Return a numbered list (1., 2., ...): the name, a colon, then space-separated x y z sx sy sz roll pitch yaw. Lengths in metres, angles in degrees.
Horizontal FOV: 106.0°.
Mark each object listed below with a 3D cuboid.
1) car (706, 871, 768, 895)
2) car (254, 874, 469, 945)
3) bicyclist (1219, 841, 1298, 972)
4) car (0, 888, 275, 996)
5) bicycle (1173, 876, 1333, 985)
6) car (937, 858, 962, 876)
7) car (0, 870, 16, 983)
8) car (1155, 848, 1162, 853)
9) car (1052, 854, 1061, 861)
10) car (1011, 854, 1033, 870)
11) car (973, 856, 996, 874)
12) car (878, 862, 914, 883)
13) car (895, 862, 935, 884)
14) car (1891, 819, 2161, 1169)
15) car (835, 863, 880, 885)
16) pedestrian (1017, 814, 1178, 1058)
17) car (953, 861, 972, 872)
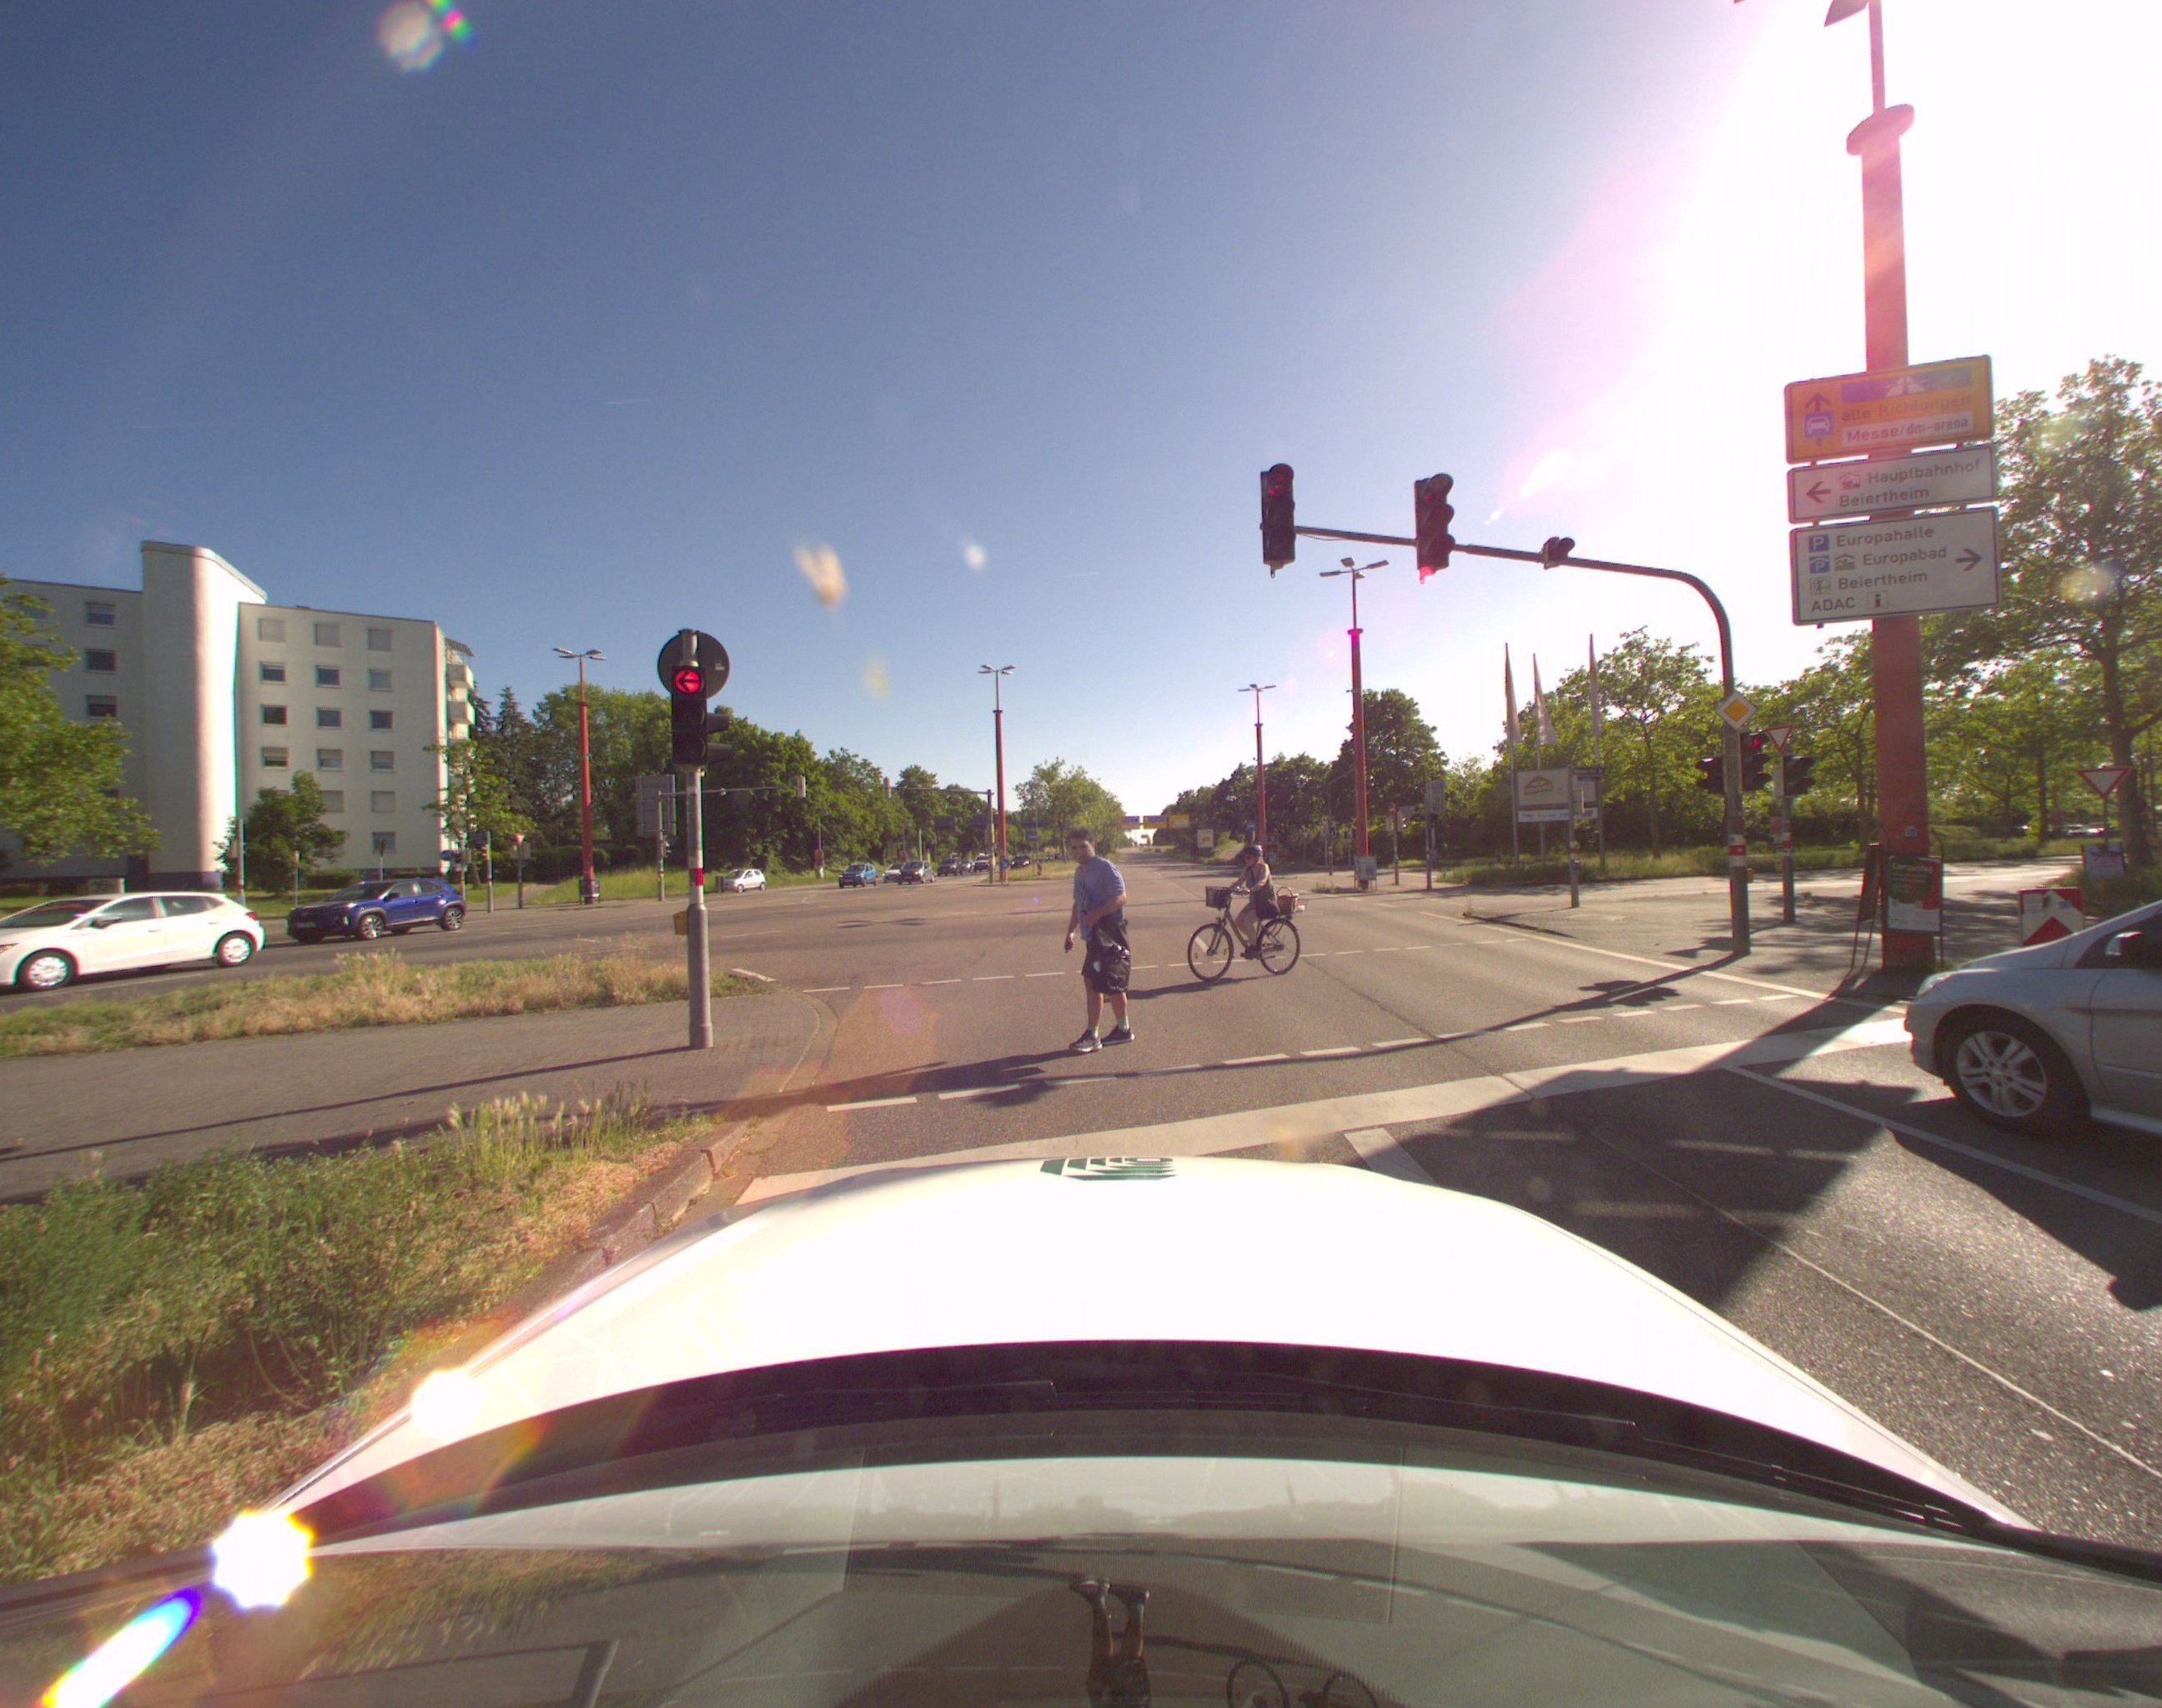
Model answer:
1. car: -23.036 1.947 54.681 1.738 1.398 4.016 -2 0 15
2. car: -19.060 1.397 21.879 1.986 1.574 4.108 -3 0 2
3. bicyclist: 2.254 0.639 10.383 0.664 1.584 0.667 -2 0 -26
4. car: -16.345 1.374 13.574 1.682 1.407 4.023 -2 0 2
5. bicycle: 2.198 0.921 10.343 1.952 1.195 0.686 -2 0 -26
6. car: -12.477 1.181 77.473 1.733 1.612 3.613 -2 0 1
7. car: -20.050 1.300 12.053 1.986 1.966 4.910 -2 0 2
8. car: 24.832 -1.038 260.598 1.787 1.409 4.001 0 -1 2
9. car: -5.688 0.867 189.064 1.812 1.629 4.002 -2 0 2
10. car: -5.962 0.792 82.806 1.812 1.508 4.002 -2 0 2
11. car: -11.251 1.279 94.888 1.886 2.026 5.224 -2 0 1
12. car: -13.746 1.346 60.641 1.733 1.411 3.613 -2 0 1
13. car: -10.631 1.193 52.337 1.733 1.243 3.613 -2 0 1
14. car: 5.675 0.603 2.860 1.732 1.578 4.032 -2 0 3
15. car: -14.083 1.214 51.417 1.733 1.243 3.613 -2 0 1
16. pedestrian: 0.108 0.601 6.632 0.988 1.794 0.948 -1 0 -20
17. car: -14.406 1.569 99.365 1.733 1.243 3.613 -2 0 1
